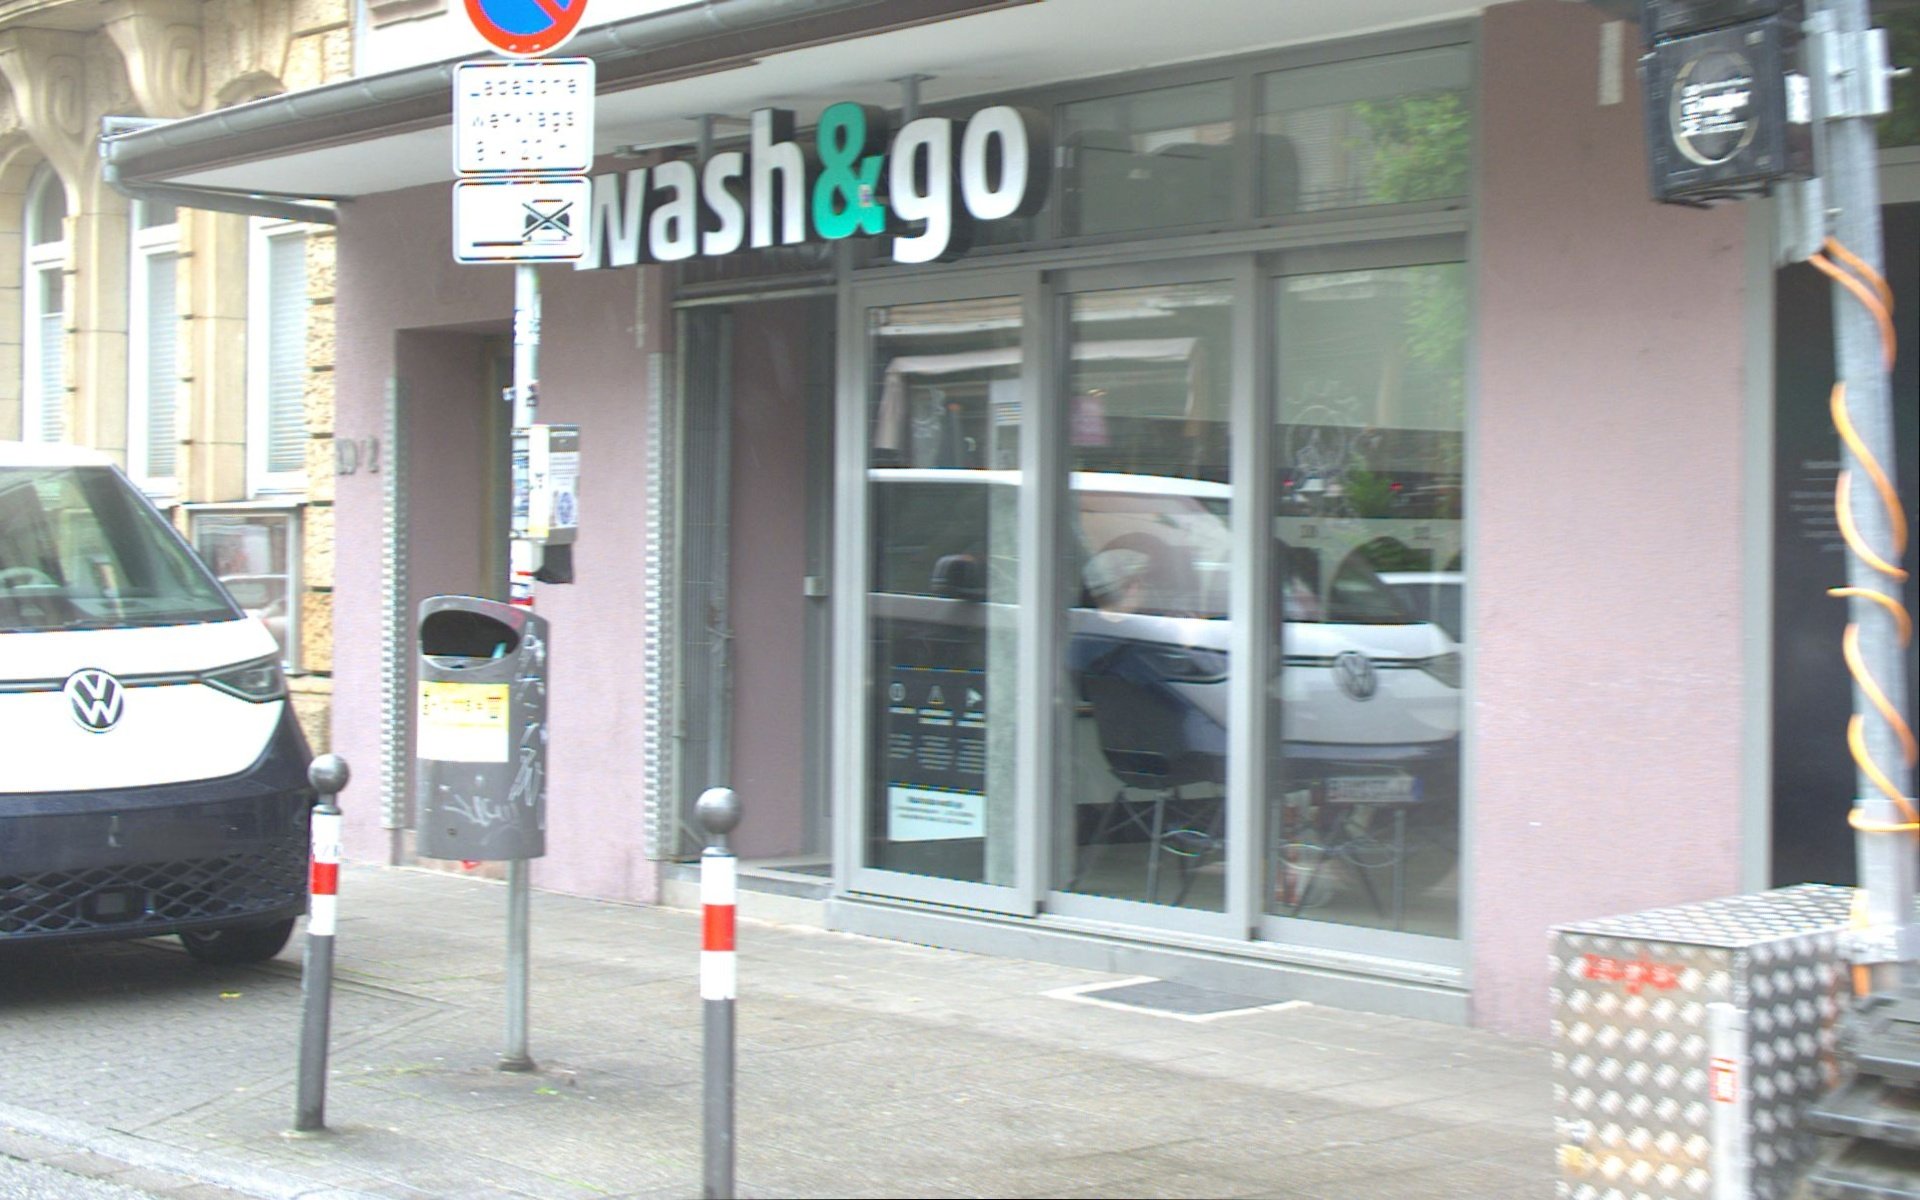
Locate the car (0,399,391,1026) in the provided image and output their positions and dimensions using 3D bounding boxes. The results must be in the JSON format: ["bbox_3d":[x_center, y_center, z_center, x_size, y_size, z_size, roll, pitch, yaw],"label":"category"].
[{"bbox_3d":[-4.369,0.304,12.824,1.994,1.932,5.228,-2,2,-40],"label":"car"}]

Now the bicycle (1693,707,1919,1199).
[{"bbox_3d":[2.304,0.802,6.180,0.624,1.124,1.937,0,1,-41],"label":"bicycle"}]
